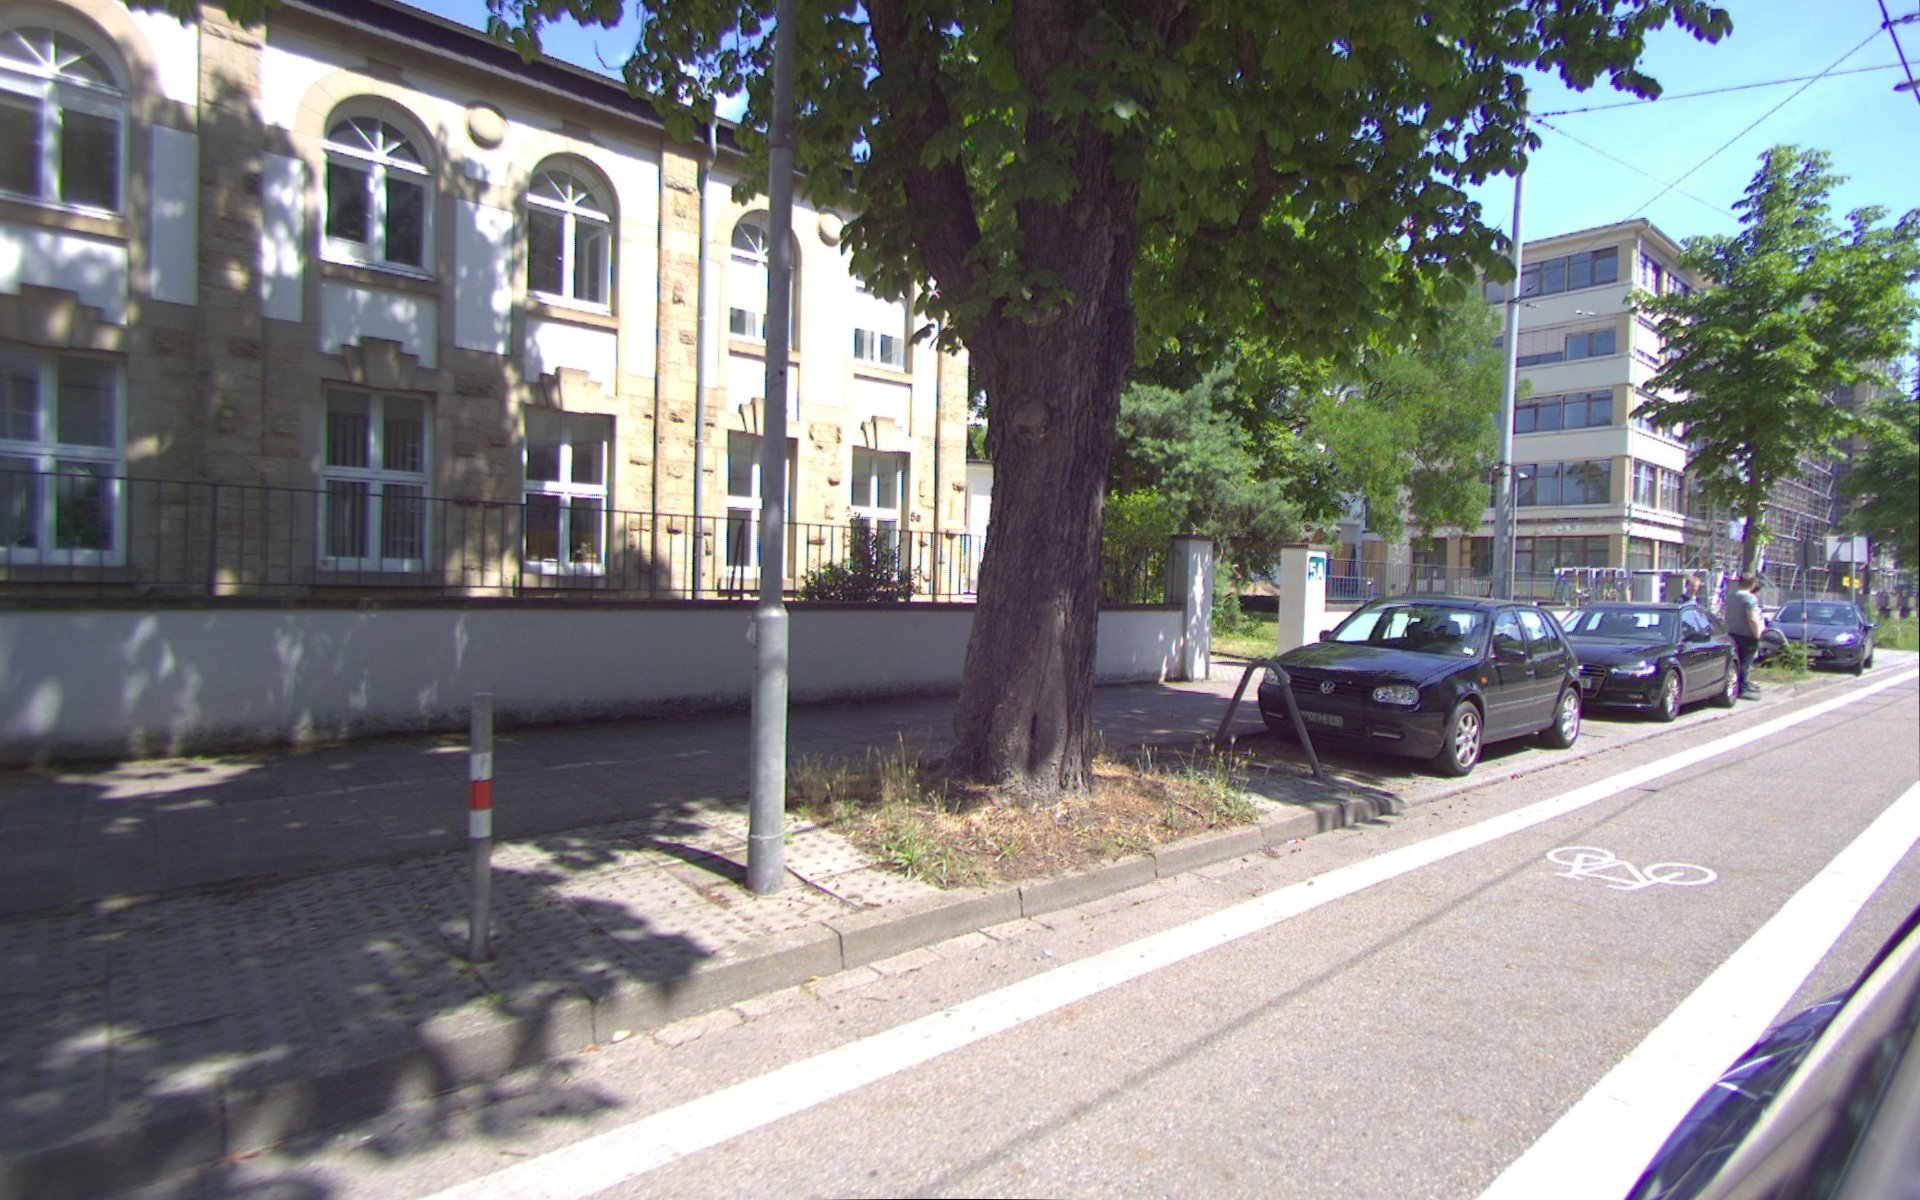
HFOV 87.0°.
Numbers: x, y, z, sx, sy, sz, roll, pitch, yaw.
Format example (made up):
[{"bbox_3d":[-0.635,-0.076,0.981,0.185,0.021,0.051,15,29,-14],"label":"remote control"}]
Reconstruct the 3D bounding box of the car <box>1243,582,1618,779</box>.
[{"bbox_3d":[4.633,0.582,9.679,4.171,1.440,1.714,-1,3,-42],"label":"car"}]

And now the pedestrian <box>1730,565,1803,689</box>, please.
[{"bbox_3d":[12.670,0.401,15.916,0.568,1.882,0.723,2,1,14],"label":"pedestrian"}]

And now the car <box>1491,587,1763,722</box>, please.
[{"bbox_3d":[9.075,0.587,13.619,4.448,1.472,1.880,-1,3,-41],"label":"car"}]

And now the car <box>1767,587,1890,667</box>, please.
[{"bbox_3d":[18.612,0.496,21.639,3.809,1.503,1.640,-1,3,-44],"label":"car"}]

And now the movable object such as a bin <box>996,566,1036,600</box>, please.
[{"bbox_3d":[2.523,-0.795,45.868,1.360,1.481,1.412,1,2,-19],"label":"movable object such as a bin"}]

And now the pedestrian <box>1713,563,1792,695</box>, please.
[{"bbox_3d":[11.732,0.410,15.008,0.568,1.882,0.808,2,1,14],"label":"pedestrian"}]

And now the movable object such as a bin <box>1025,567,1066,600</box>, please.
[{"bbox_3d":[3.887,-0.759,46.180,1.360,1.481,1.412,1,2,-20],"label":"movable object such as a bin"}]

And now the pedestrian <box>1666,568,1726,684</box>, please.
[{"bbox_3d":[11.593,0.393,15.955,0.471,1.758,0.618,2,2,14],"label":"pedestrian"}]
